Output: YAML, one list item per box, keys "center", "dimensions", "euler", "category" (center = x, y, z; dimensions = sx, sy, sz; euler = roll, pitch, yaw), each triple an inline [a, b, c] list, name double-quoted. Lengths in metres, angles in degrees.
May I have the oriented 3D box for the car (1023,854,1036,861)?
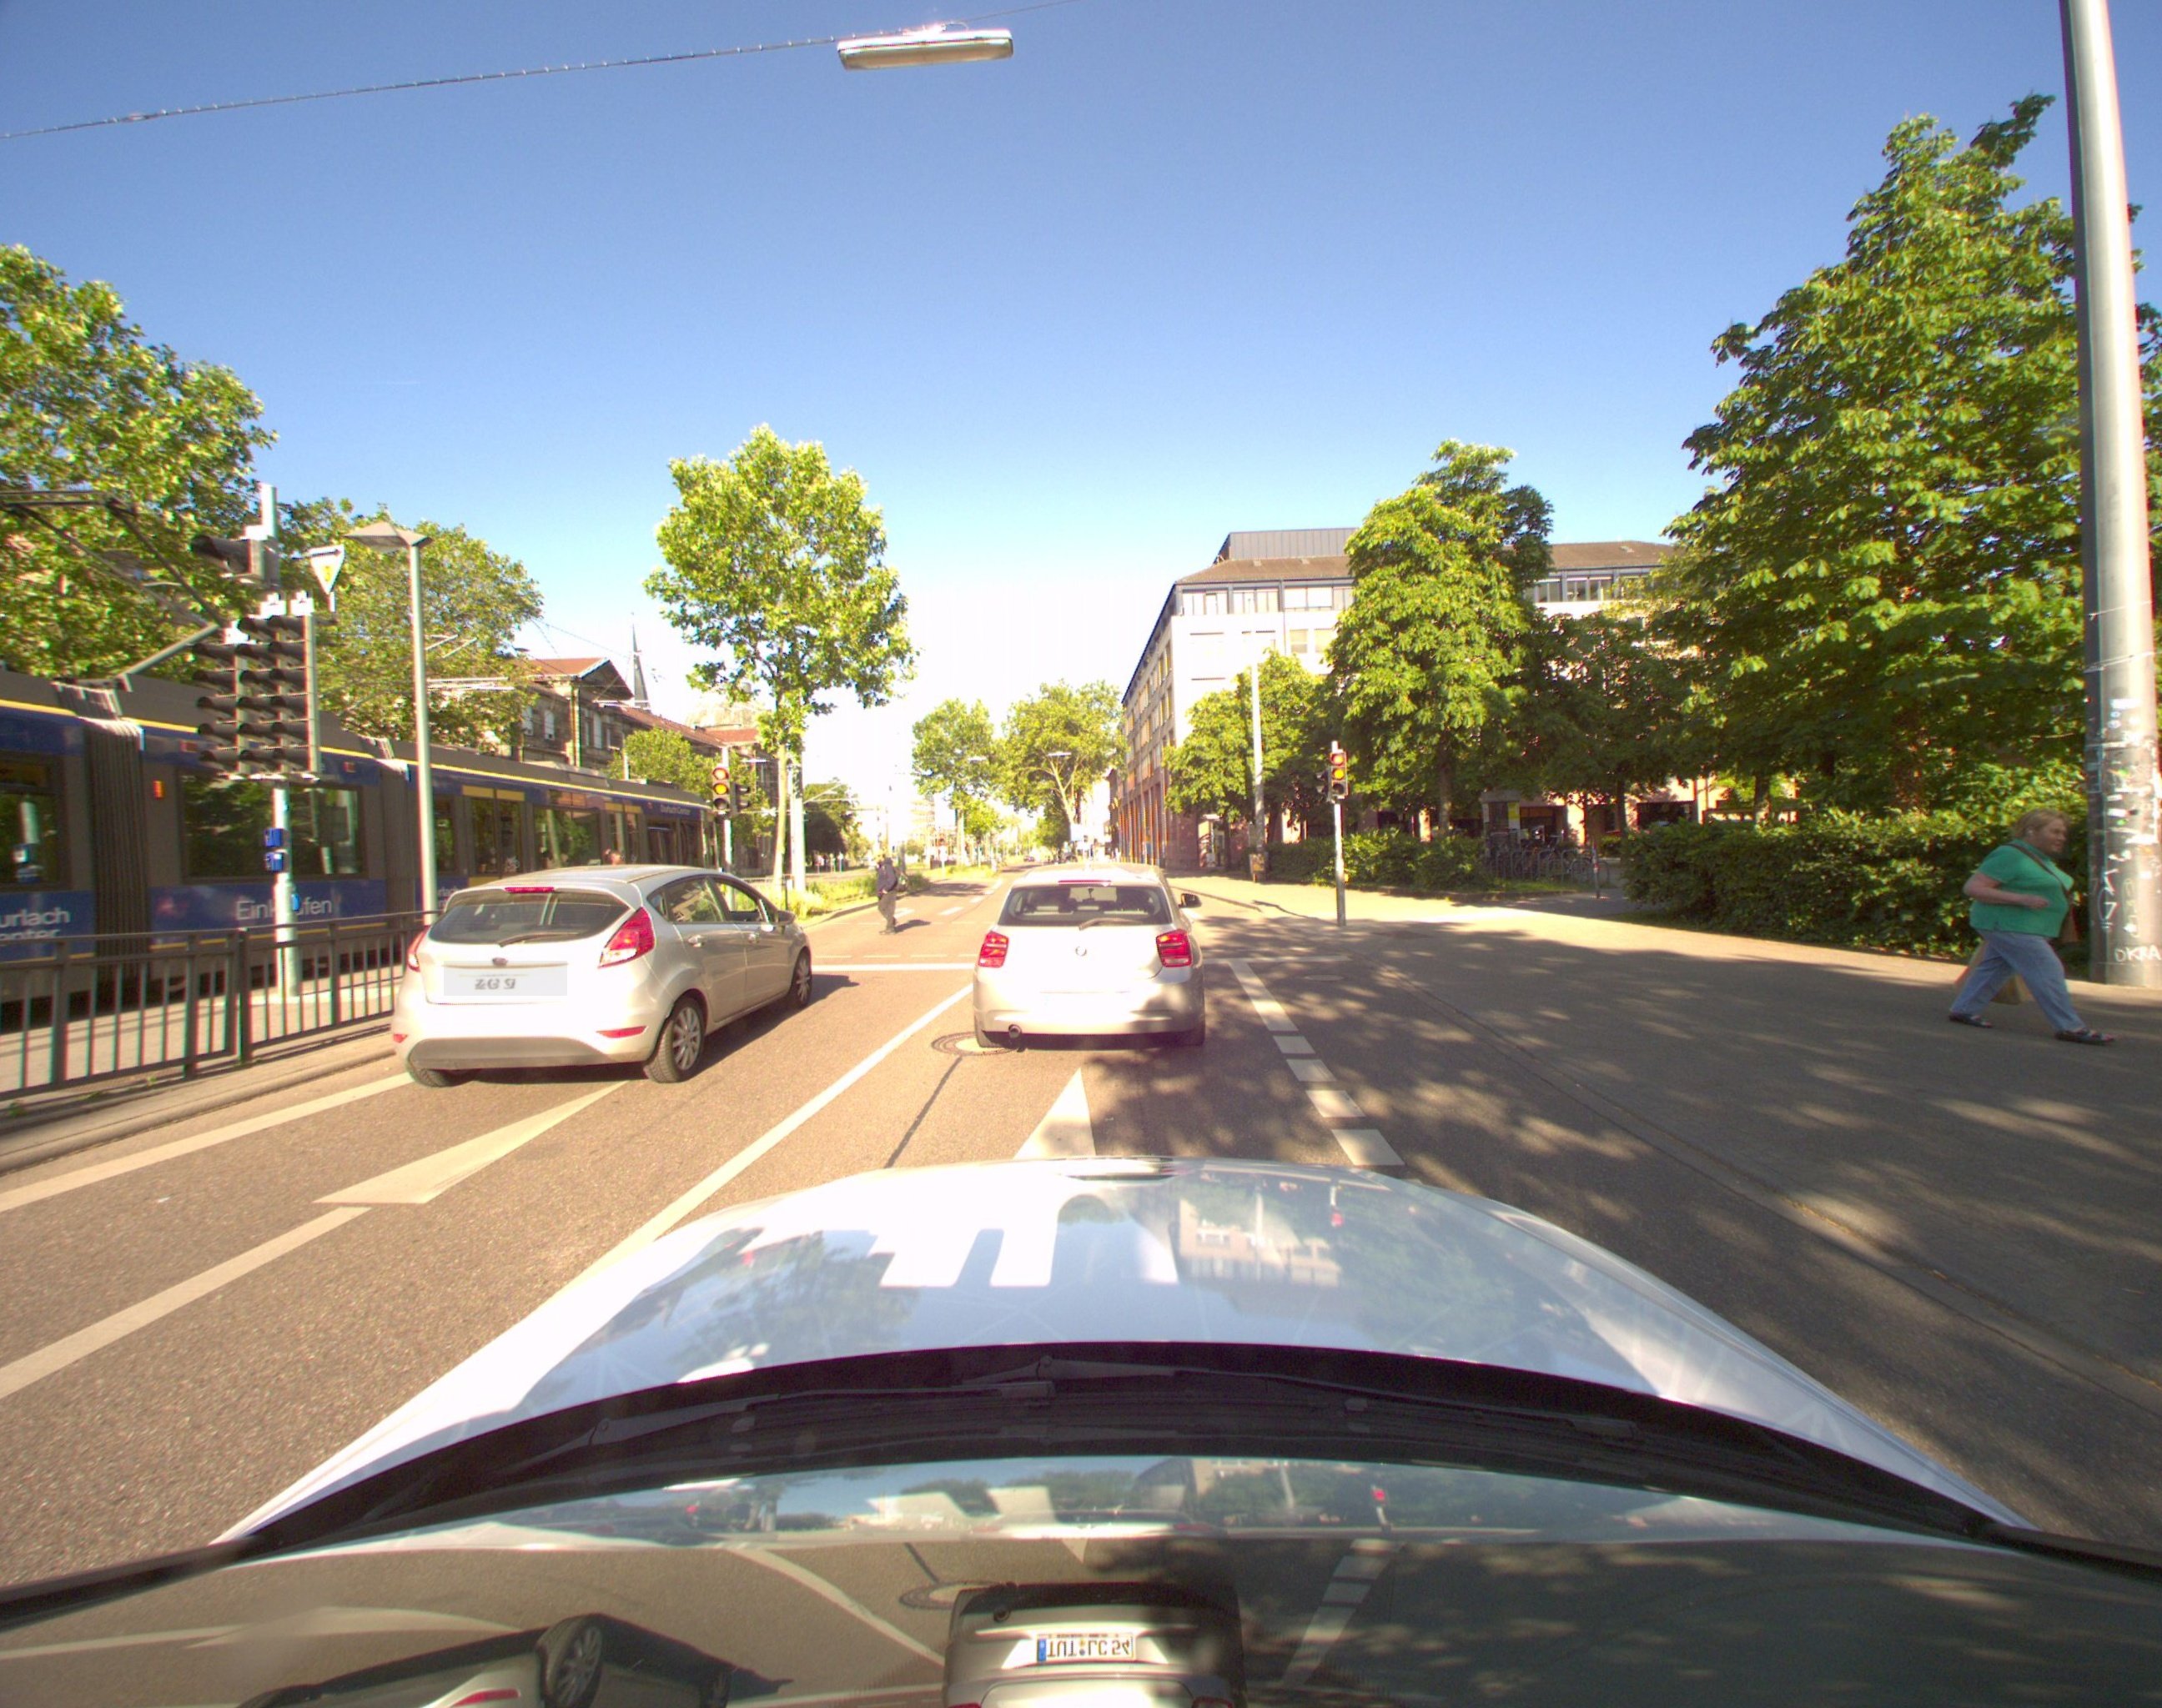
- center: [-13.203, 0.885, 209.529]
  dimensions: [2.004, 1.486, 3.965]
  euler: [-2, 0, -27]
  category: "car"

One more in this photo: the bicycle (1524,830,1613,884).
- center: [13.119, 0.076, 21.939]
  dimensions: [1.989, 1.314, 0.574]
  euler: [-3, 0, 0]
  category: "bicycle"

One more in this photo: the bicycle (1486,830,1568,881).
- center: [12.794, 0.048, 23.395]
  dimensions: [1.989, 1.314, 0.574]
  euler: [-3, 0, 0]
  category: "bicycle"

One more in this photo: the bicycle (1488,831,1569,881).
- center: [13.185, 0.060, 24.010]
  dimensions: [1.989, 1.314, 0.574]
  euler: [-3, 0, 0]
  category: "bicycle"

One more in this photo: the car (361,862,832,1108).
- center: [-3.404, 0.785, 6.611]
  dimensions: [1.655, 1.409, 3.631]
  euler: [-1, 0, -1]
  category: "car"

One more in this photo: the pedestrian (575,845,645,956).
- center: [-6.885, 0.665, 11.924]
  dimensions: [0.630, 1.557, 0.645]
  euler: [-2, 0, -7]
  category: "pedestrian"

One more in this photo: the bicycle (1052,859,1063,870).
- center: [-2.414, 1.103, 83.109]
  dimensions: [0.827, 1.041, 1.878]
  euler: [-3, 0, 7]
  category: "bicycle"

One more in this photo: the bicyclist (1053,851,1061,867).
- center: [-2.456, 0.488, 83.108]
  dimensions: [0.655, 1.657, 0.766]
  euler: [-3, 0, 7]
  category: "bicyclist"

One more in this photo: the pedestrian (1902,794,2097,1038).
- center: [6.530, 0.404, 5.817]
  dimensions: [0.743, 1.575, 0.822]
  euler: [-2, -1, -41]
  category: "pedestrian"

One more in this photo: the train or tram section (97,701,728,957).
- center: [-11.359, -0.211, 16.984]
  dimensions: [2.908, 3.260, 13.096]
  euler: [0, -1, -3]
  category: "train or tram section"

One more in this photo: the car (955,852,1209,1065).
- center: [0.172, 0.708, 7.473]
  dimensions: [1.722, 1.390, 3.845]
  euler: [0, 1, 5]
  category: "car"

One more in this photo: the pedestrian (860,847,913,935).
- center: [-3.701, 0.684, 15.558]
  dimensions: [0.941, 1.629, 0.626]
  euler: [-1, 0, -12]
  category: "pedestrian"

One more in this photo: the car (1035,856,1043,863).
- center: [-12.746, 1.749, 246.194]
  dimensions: [1.986, 2.014, 4.002]
  euler: [0, -1, 2]
  category: "car"

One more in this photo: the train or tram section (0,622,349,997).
- center: [-10.683, -0.458, 2.565]
  dimensions: [2.907, 3.260, 15.877]
  euler: [0, -1, -2]
  category: "train or tram section"
